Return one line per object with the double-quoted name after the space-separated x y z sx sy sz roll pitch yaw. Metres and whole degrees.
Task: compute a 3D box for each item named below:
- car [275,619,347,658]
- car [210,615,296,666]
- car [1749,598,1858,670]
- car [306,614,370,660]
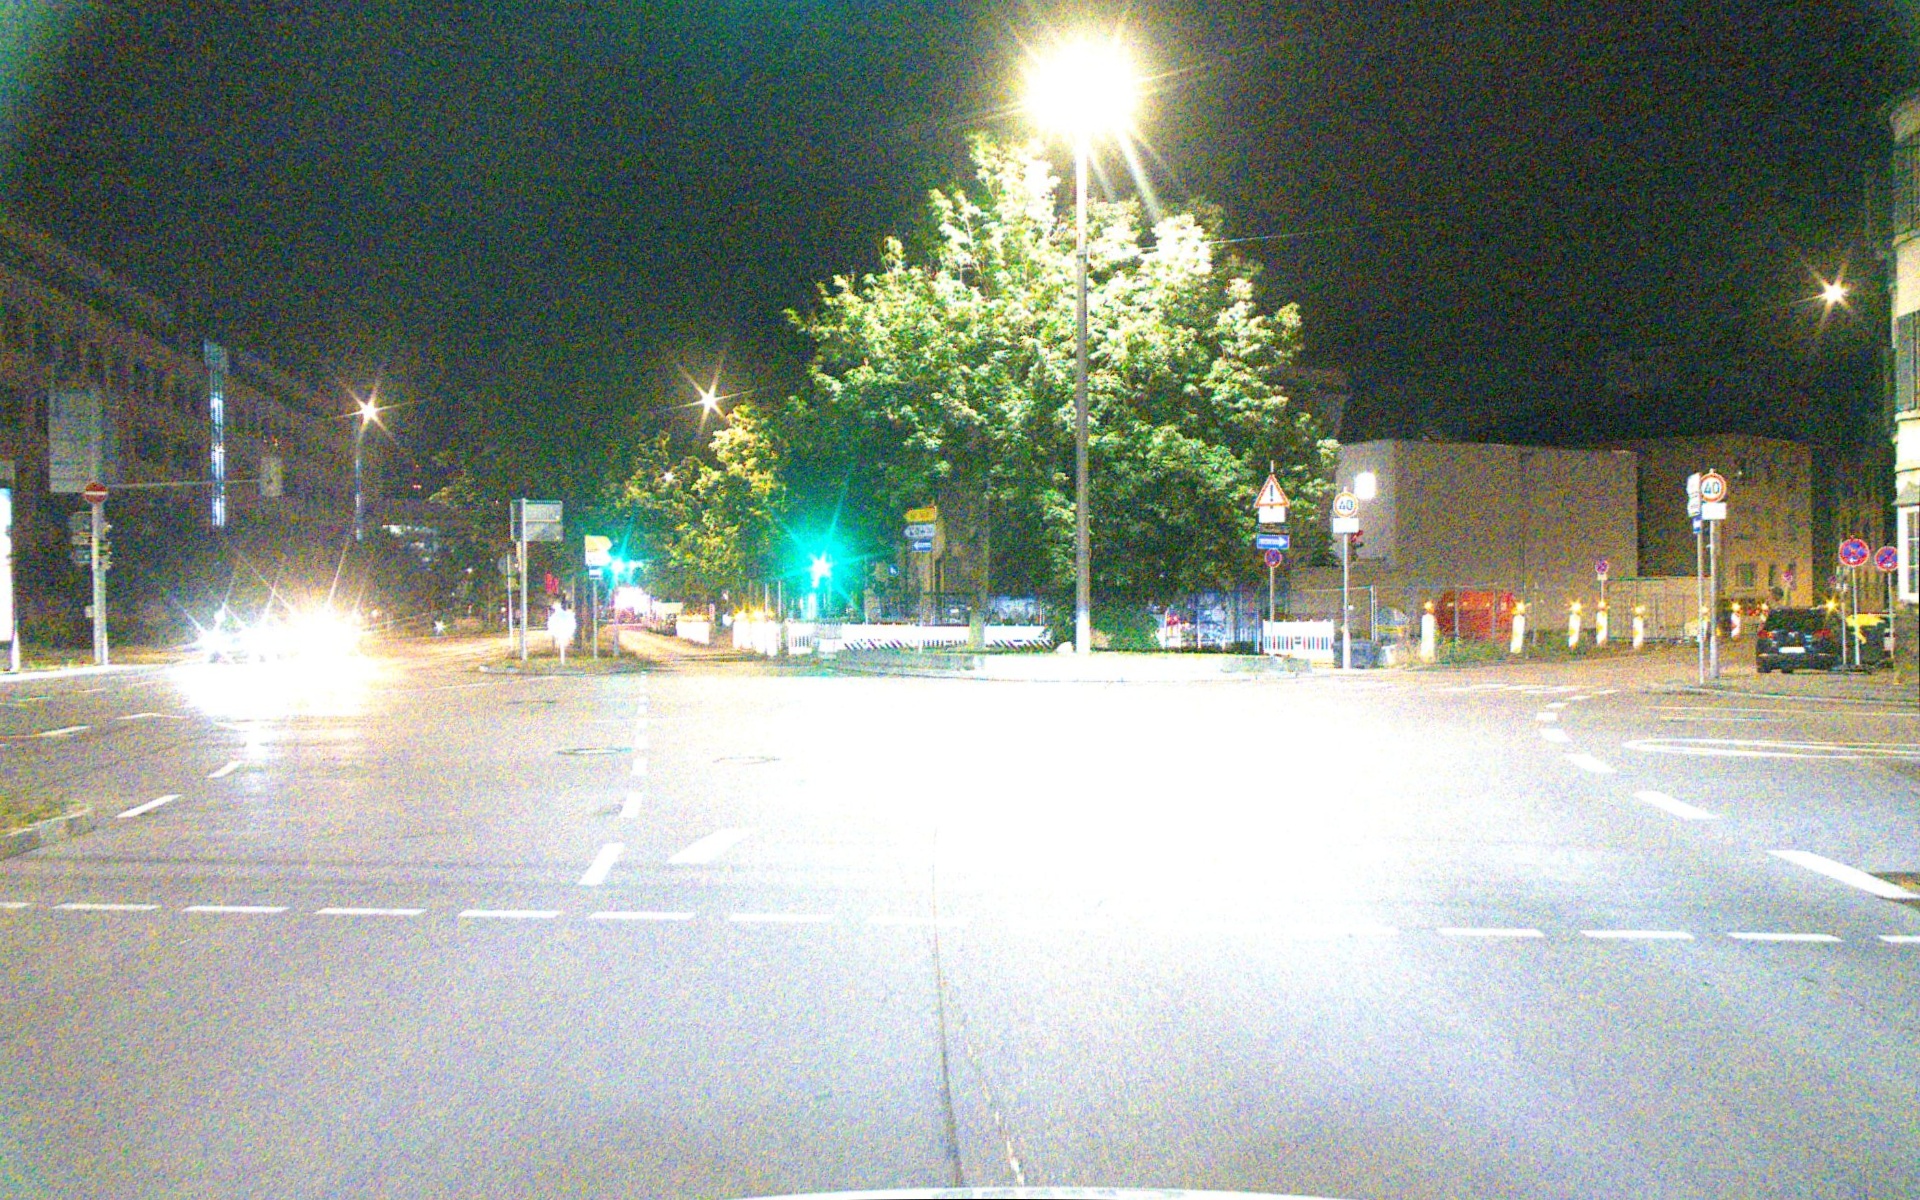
-23.262 1.365 59.365 1.726 1.345 3.538 0 -1 -10 "car"
-22.171 1.262 51.988 1.586 1.541 3.990 0 -1 -10 "car"
20.316 0.807 39.764 1.700 1.640 3.607 -1 -1 38 "car"
-24.277 1.446 64.636 1.726 1.758 3.538 0 -1 -10 "car"
